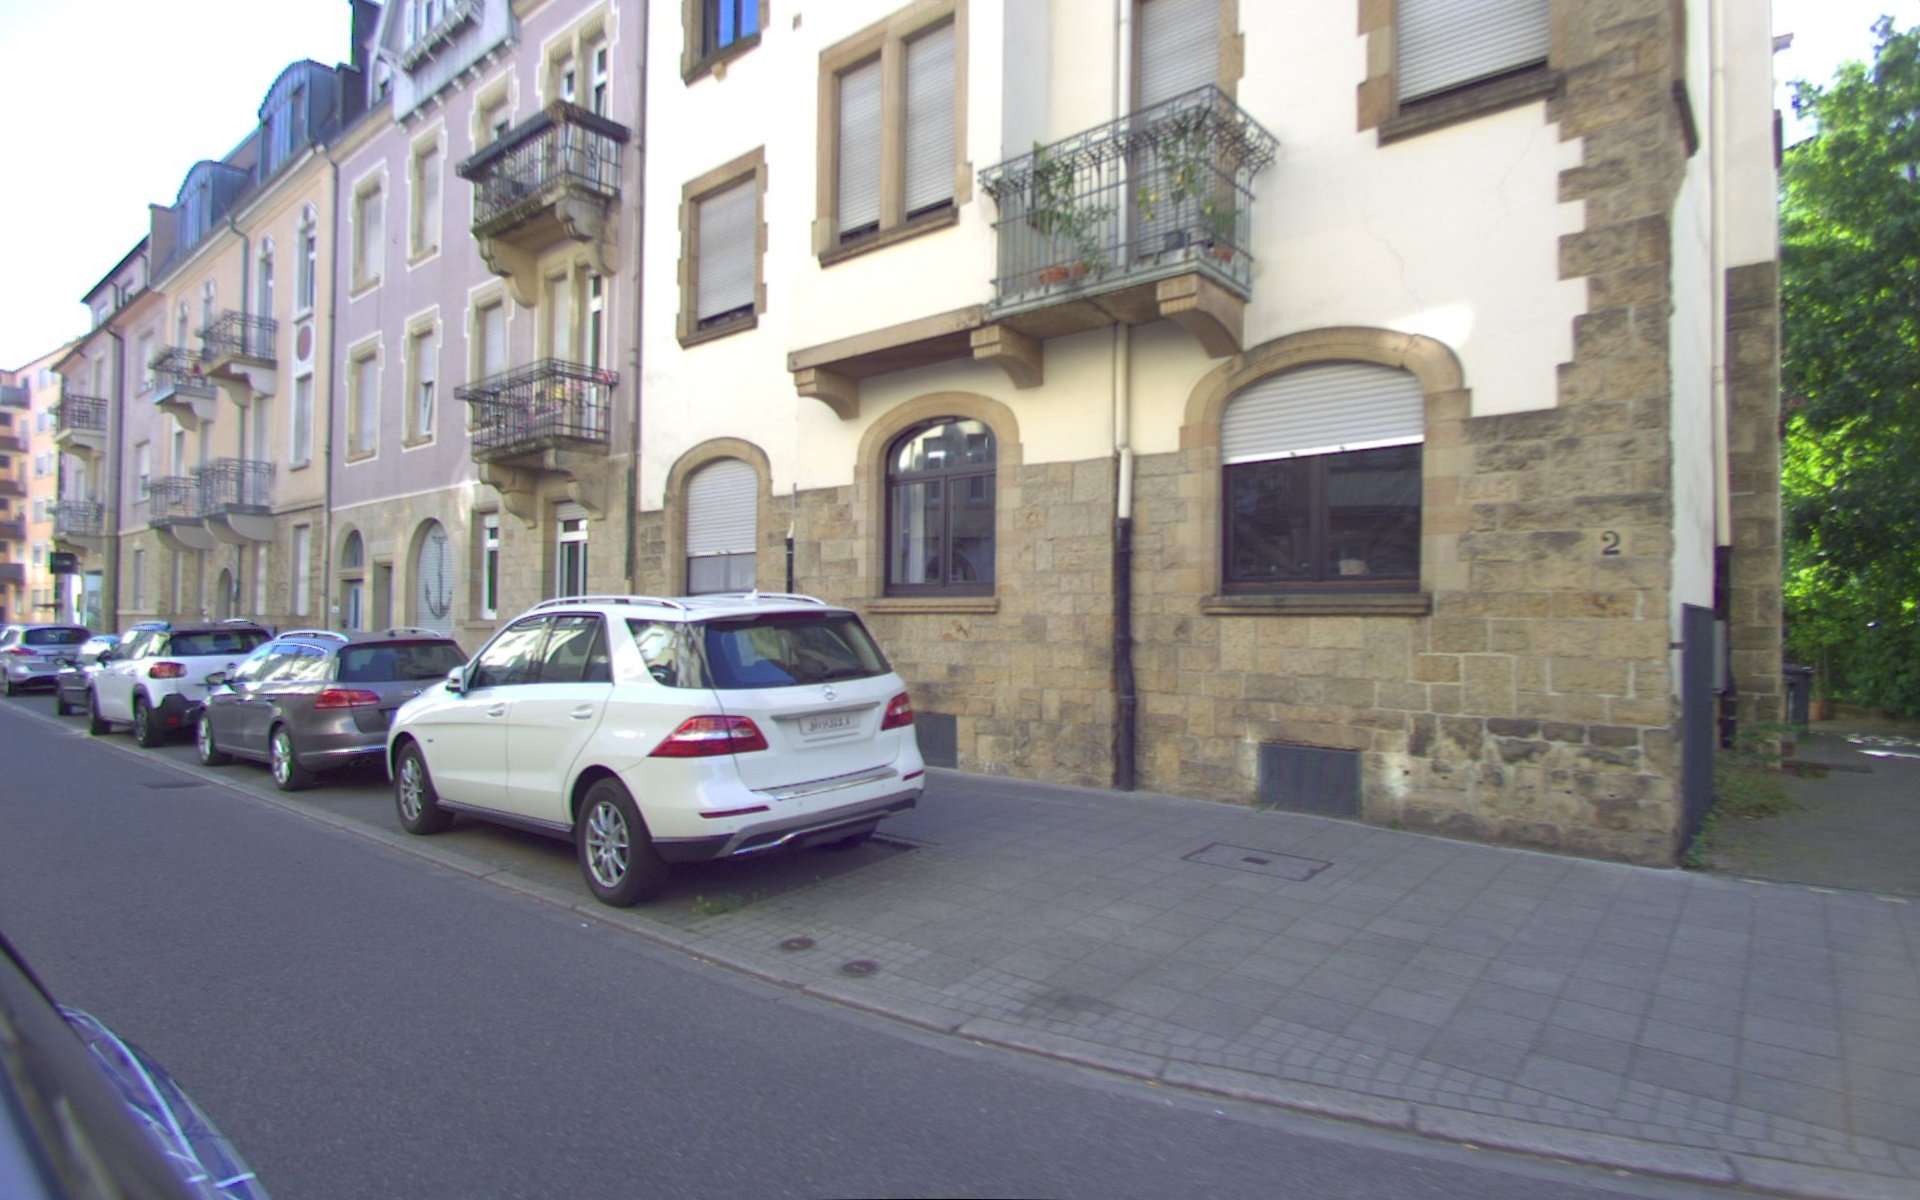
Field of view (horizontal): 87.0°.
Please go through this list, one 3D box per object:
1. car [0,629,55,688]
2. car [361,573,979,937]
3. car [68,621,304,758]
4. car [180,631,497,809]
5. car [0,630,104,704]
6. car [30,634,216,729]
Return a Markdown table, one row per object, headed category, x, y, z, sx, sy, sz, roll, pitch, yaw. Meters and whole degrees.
| category | x | y | z | sx | sy | sz | roll | pitch | yaw |
| --- | --- | --- | --- | --- | --- | --- | --- | --- | --- |
| car | -26.238 | 1.561 | 27.597 | 4.106 | 1.533 | 1.697 | -1 | -3 | 40 |
| car | -2.289 | 0.778 | 7.088 | 4.723 | 1.735 | 1.872 | -2 | 0 | 41 |
| car | -10.983 | 1.153 | 14.268 | 4.016 | 1.595 | 1.698 | -2 | 1 | 39 |
| car | -6.688 | 1.093 | 10.698 | 4.275 | 1.498 | 1.558 | -2 | -1 | 39 |
| car | -21.251 | 1.484 | 23.281 | 3.719 | 1.550 | 1.698 | -2 | -2 | 39 |
| car | -14.747 | 1.354 | 17.786 | 3.659 | 1.404 | 1.657 | -2 | 1 | 36 |
